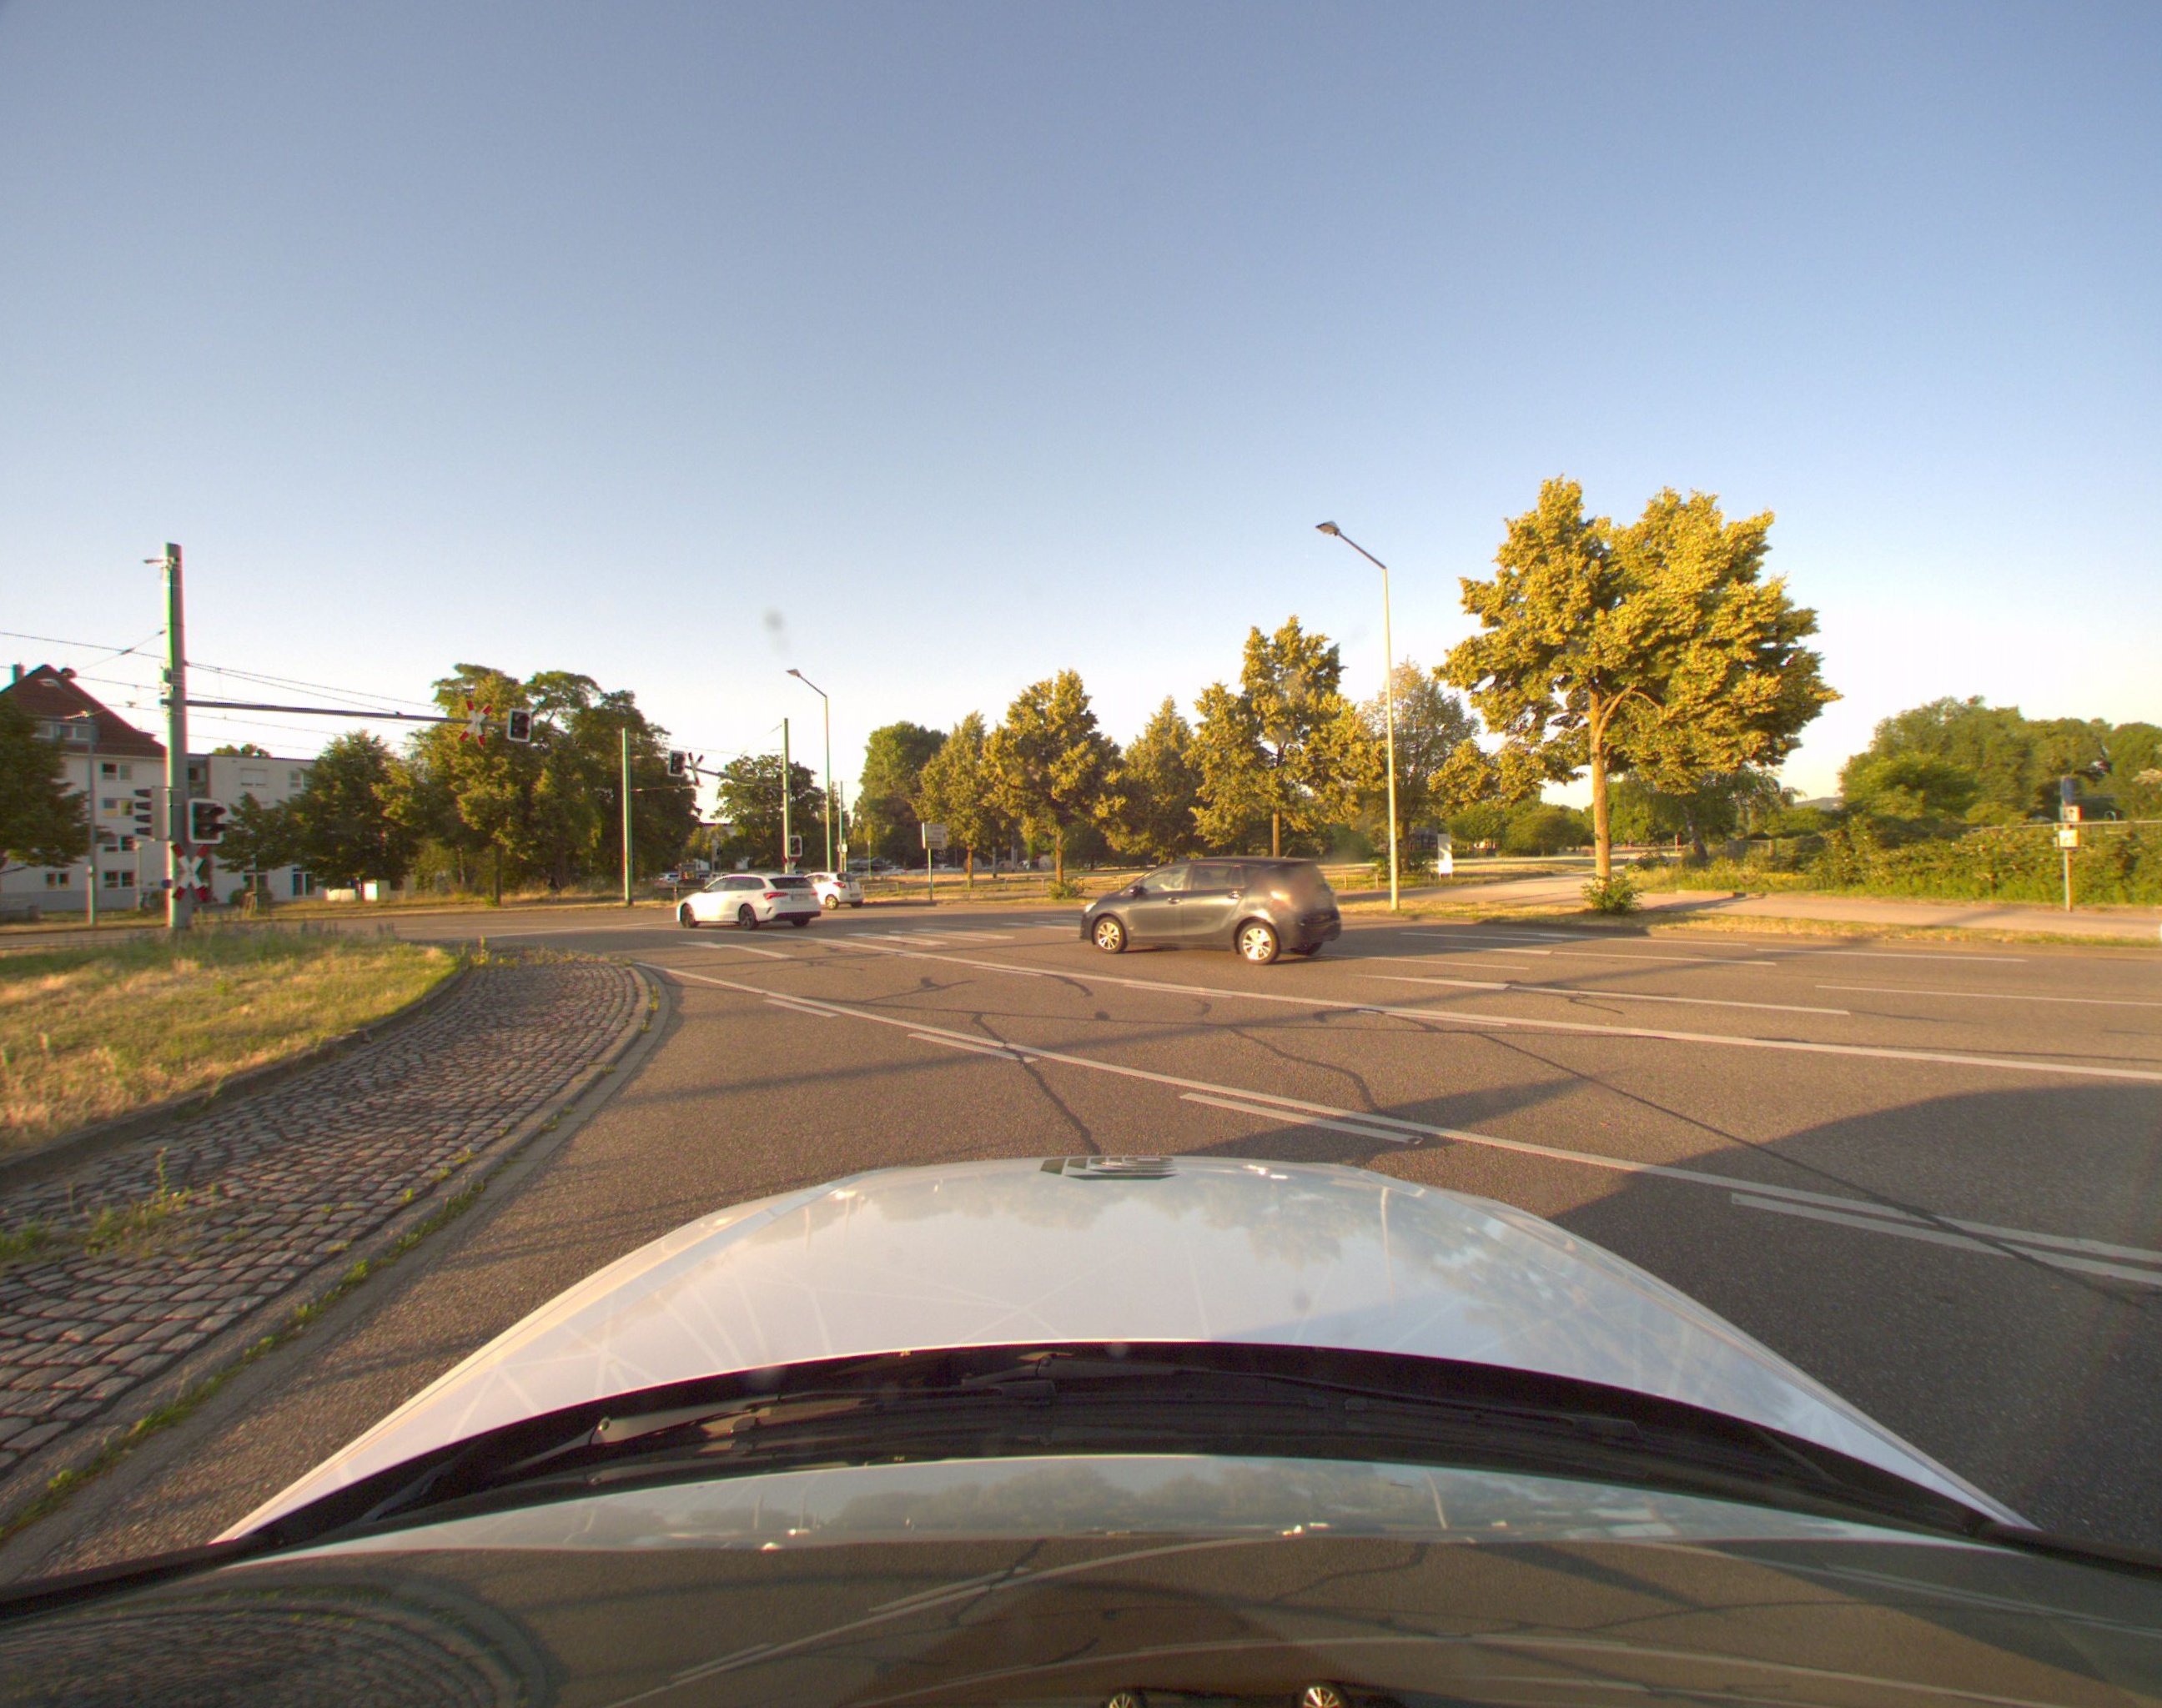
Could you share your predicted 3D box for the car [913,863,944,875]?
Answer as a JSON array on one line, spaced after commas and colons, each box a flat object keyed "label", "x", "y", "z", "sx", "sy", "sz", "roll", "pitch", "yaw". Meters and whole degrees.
[{"label": "car", "x": -21.554, "y": 2.079, "z": 114.794, "sx": 3.948, "sy": 1.551, "sz": 2.013, "roll": -2, "pitch": 0, "yaw": 33}]

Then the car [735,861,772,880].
[{"label": "car", "x": -37.092, "y": 1.871, "z": 92.271, "sx": 3.948, "sy": 2.098, "sz": 2.013, "roll": -2, "pitch": 0, "yaw": 34}]

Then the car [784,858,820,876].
[{"label": "car", "x": -33.400, "y": 1.560, "z": 97.419, "sx": 3.948, "sy": 2.098, "sz": 2.013, "roll": -2, "pitch": 0, "yaw": 34}]

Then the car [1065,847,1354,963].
[{"label": "car", "x": 2.013, "y": 0.767, "z": 13.526, "sx": 4.398, "sy": 1.633, "sz": 1.815, "roll": -2, "pitch": -1, "yaw": 39}]

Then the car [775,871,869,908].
[{"label": "car", "x": -10.515, "y": 1.432, "z": 33.015, "sx": 3.444, "sy": 1.443, "sz": 1.563, "roll": -2, "pitch": -1, "yaw": 24}]

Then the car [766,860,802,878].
[{"label": "car", "x": -34.693, "y": 1.755, "z": 95.165, "sx": 3.948, "sy": 2.098, "sz": 2.013, "roll": -2, "pitch": 0, "yaw": 34}]

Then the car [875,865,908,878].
[{"label": "car", "x": -25.280, "y": 2.350, "z": 108.758, "sx": 3.948, "sy": 1.551, "sz": 2.013, "roll": -2, "pitch": 0, "yaw": 33}]

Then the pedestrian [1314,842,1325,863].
[{"label": "pedestrian", "x": 18.728, "y": -0.108, "z": 63.940, "sx": 0.584, "sy": 1.626, "sz": 0.527, "roll": -1, "pitch": -1, "yaw": -40}]

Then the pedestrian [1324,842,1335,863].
[{"label": "pedestrian", "x": 19.500, "y": -0.151, "z": 63.821, "sx": 0.624, "sy": 1.626, "sz": 0.524, "roll": -1, "pitch": -1, "yaw": -44}]

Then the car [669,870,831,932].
[{"label": "car", "x": -8.934, "y": 1.213, "z": 21.845, "sx": 4.490, "sy": 1.448, "sz": 1.739, "roll": -2, "pitch": 0, "yaw": 33}]

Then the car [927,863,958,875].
[{"label": "car", "x": -19.856, "y": 2.114, "z": 116.804, "sx": 3.948, "sy": 1.551, "sz": 2.013, "roll": -2, "pitch": 0, "yaw": 33}]

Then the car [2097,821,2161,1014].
[{"label": "car", "x": 11.925, "y": 0.519, "z": 6.196, "sx": 4.860, "sy": 1.754, "sz": 1.934, "roll": -1, "pitch": -1, "yaw": 25}]
